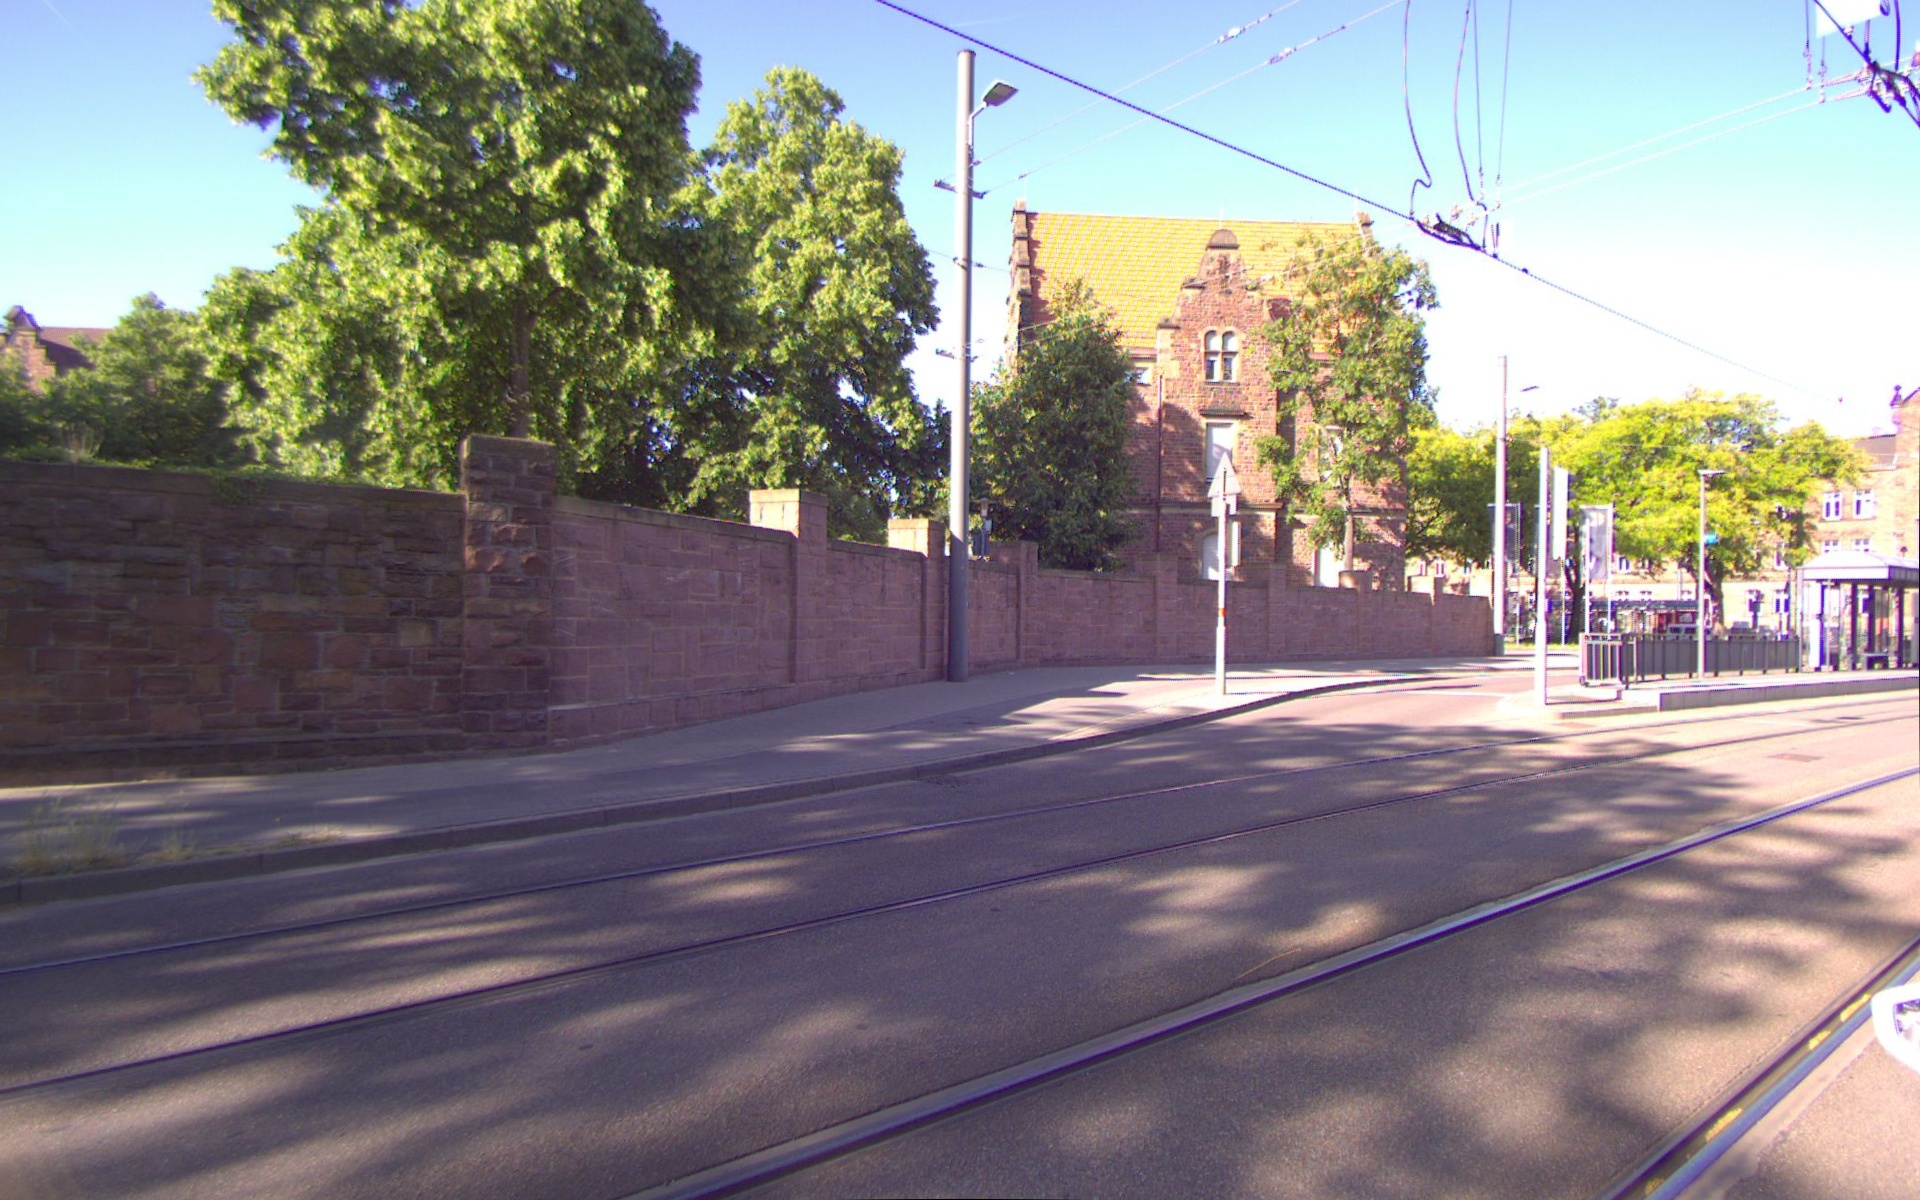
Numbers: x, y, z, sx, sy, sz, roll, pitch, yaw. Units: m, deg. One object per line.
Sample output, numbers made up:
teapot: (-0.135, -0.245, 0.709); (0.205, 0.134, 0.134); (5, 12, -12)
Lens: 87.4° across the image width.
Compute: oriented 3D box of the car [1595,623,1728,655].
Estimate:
car: (47.920, 2.604, 68.799); (2.957, 1.946, 6.915); (1, -1, -30)
